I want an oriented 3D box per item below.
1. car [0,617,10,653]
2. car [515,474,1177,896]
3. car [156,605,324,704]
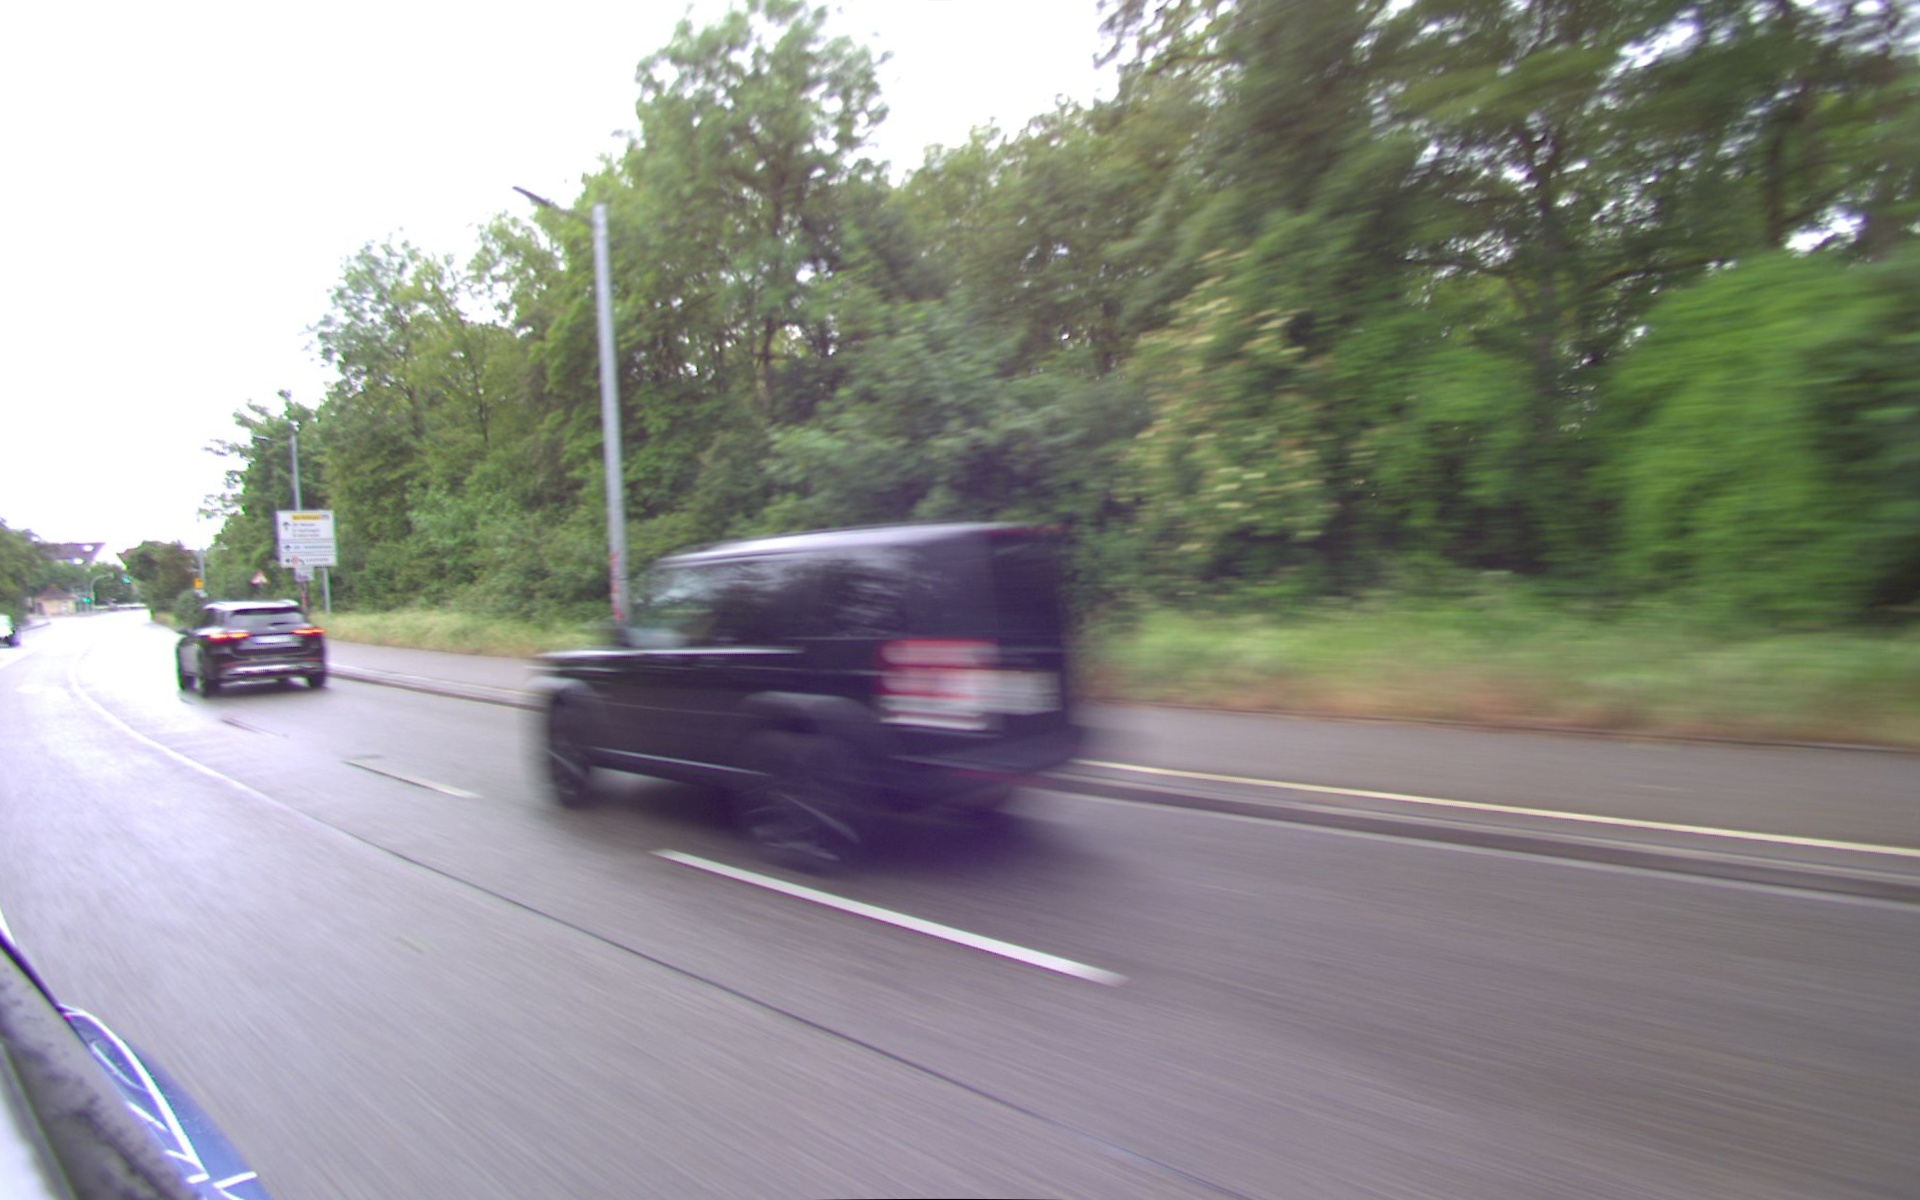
[{"bbox_3d":[-43.972,1.587,45.424,1.805,1.532,4.004,3,-5,-42],"label":"car"},{"bbox_3d":[-1.069,0.474,6.761,4.712,1.857,1.806,-2,-4,44],"label":"car"},{"bbox_3d":[-13.622,0.955,19.044,4.520,1.607,1.788,-2,0,45],"label":"car"}]
